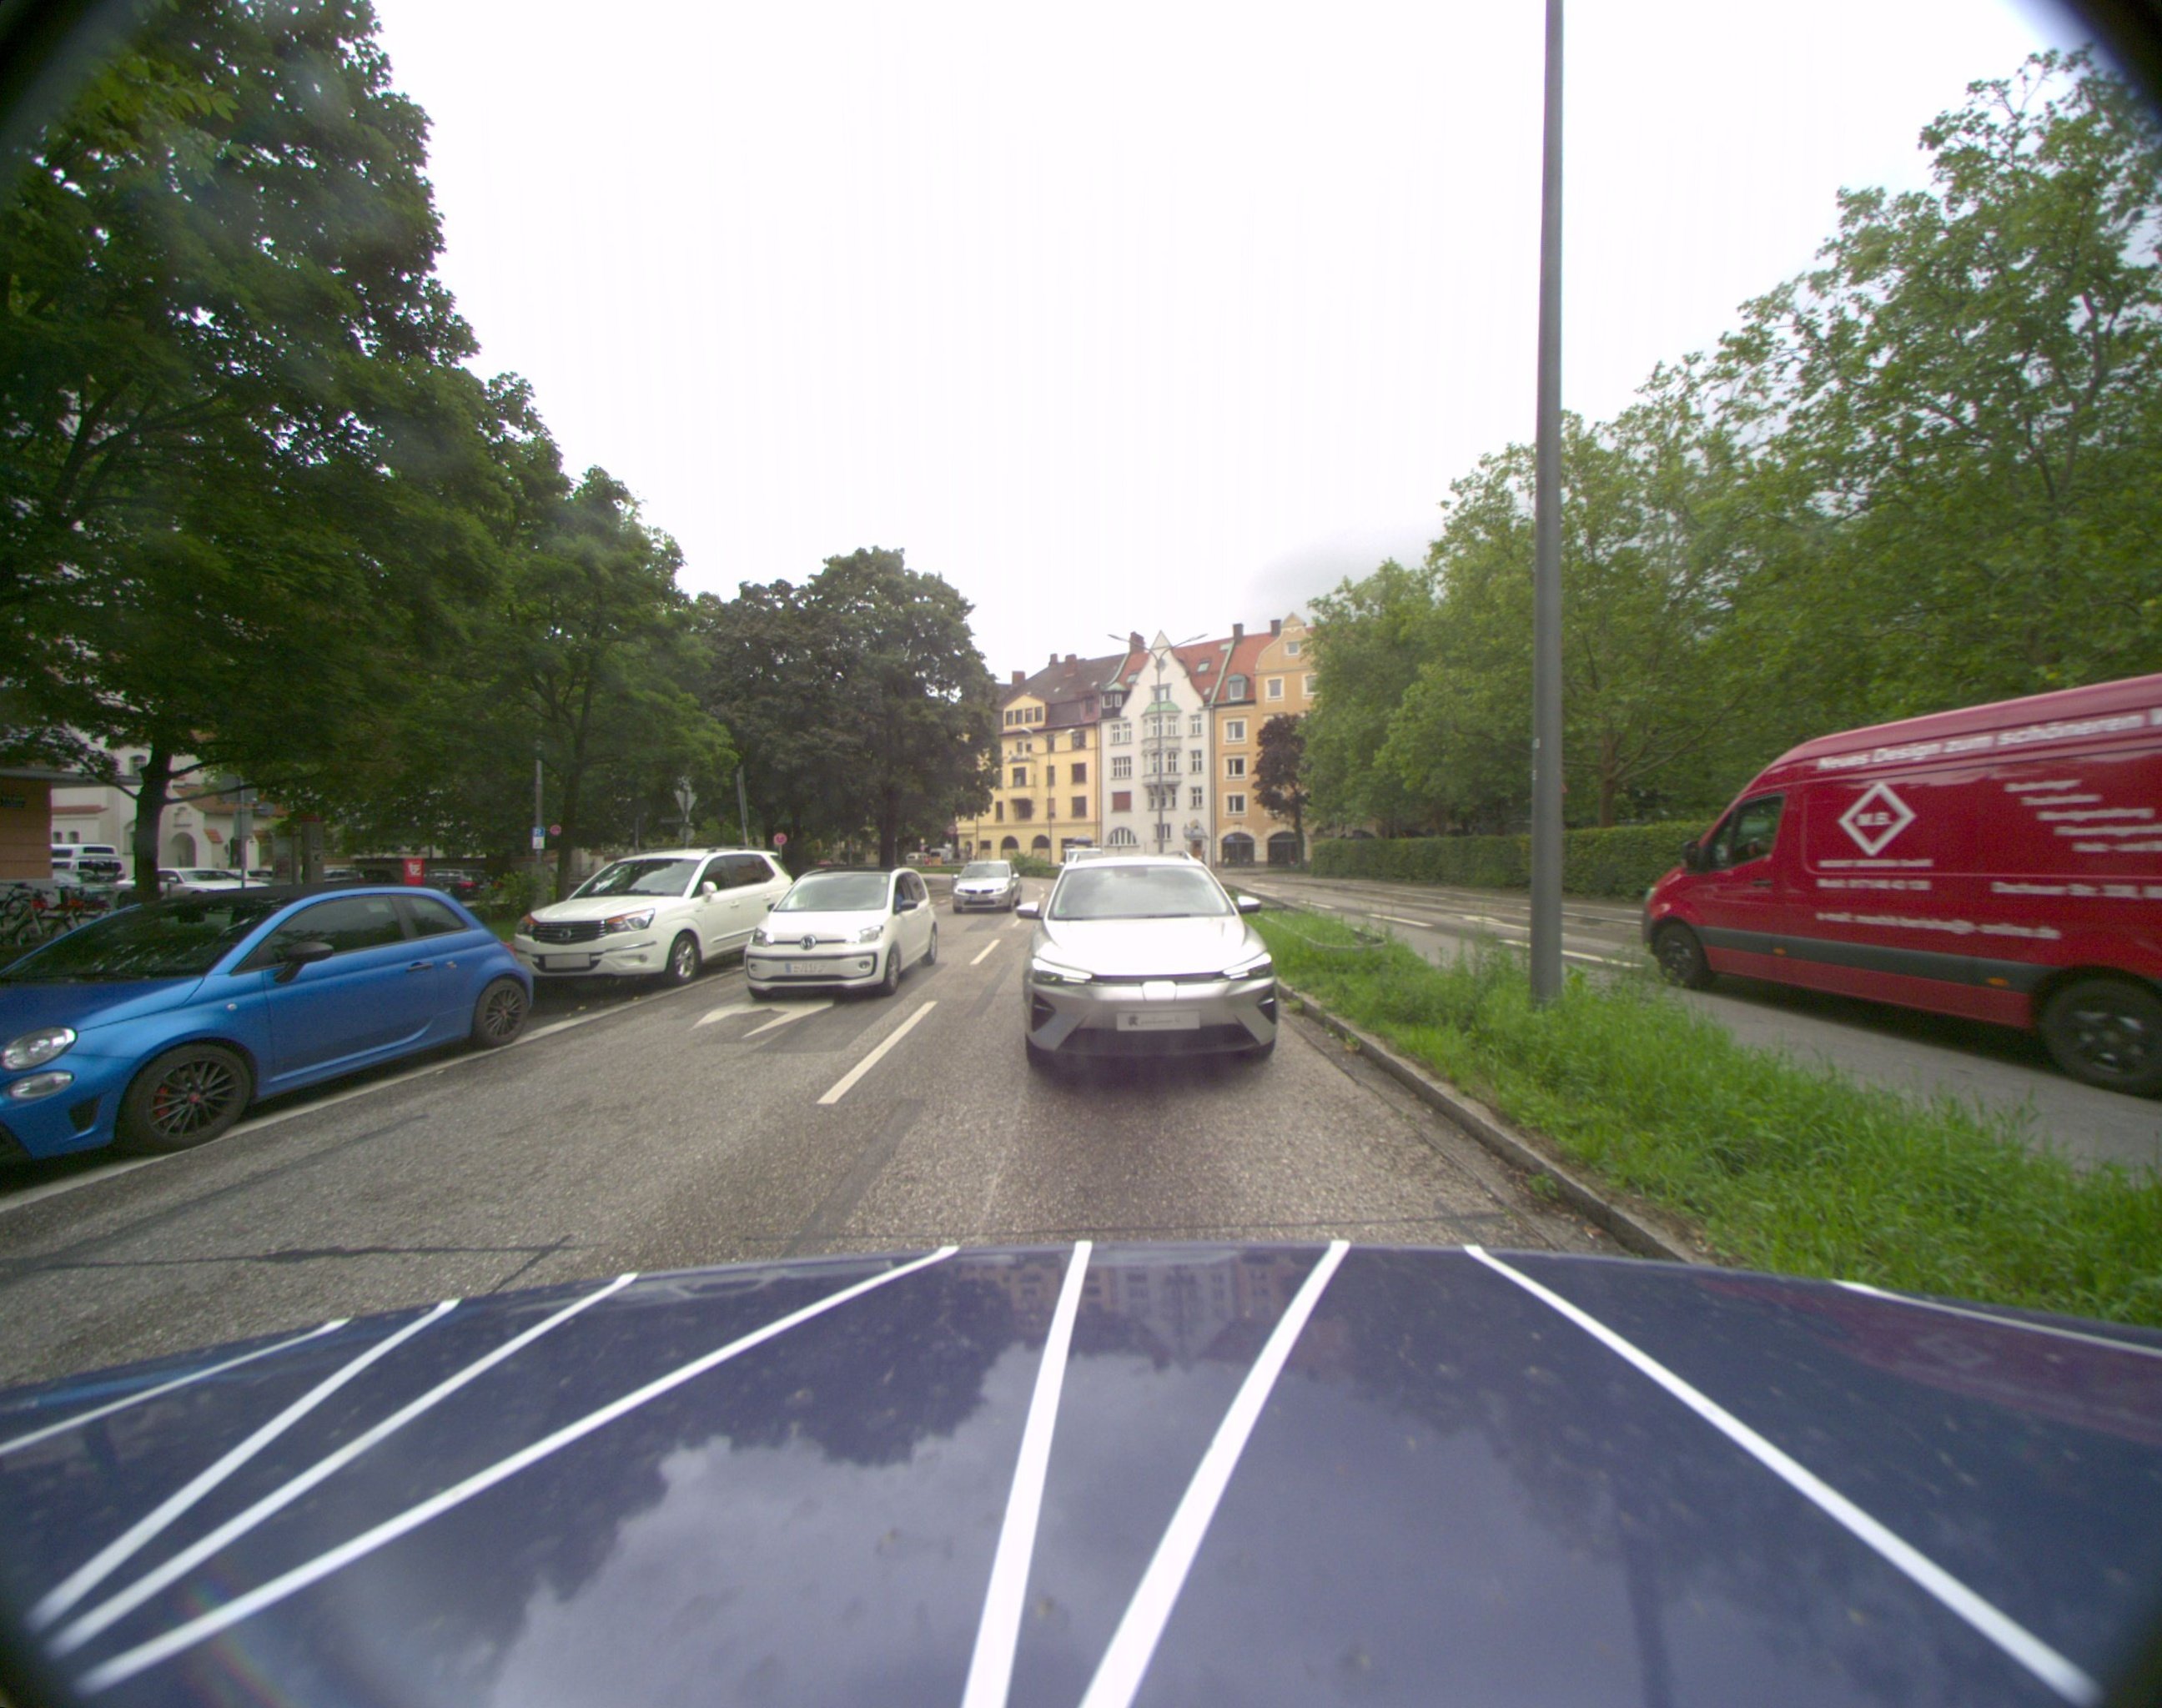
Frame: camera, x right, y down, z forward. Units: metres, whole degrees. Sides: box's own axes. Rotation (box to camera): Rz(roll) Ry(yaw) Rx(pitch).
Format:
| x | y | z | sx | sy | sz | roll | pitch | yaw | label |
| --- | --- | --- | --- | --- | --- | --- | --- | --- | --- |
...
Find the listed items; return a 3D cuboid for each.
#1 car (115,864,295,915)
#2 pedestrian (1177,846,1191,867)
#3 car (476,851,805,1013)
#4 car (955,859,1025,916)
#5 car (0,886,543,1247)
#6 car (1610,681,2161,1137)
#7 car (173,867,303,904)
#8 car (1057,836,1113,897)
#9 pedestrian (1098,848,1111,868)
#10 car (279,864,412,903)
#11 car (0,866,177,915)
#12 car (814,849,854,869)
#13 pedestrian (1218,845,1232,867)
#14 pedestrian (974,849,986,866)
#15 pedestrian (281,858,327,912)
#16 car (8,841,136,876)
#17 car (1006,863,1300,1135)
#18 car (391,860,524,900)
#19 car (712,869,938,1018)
| x | y | z | sx | sy | sz | roll | pitch | yaw | label |
| --- | --- | --- | --- | --- | --- | --- | --- | --- | --- |
| -29.143 | 1.160 | 25.330 | 4.436 | 1.458 | 1.862 | -2 | 1 | 10 | car |
| 10.058 | 0.232 | 74.432 | 1.005 | 2.002 | 0.880 | -1 | 2 | 32 | pedestrian |
| -5.952 | 0.895 | 11.208 | 1.848 | 1.845 | 5.024 | 0 | 0 | 1 | car |
| -2.668 | 0.952 | 23.082 | 1.648 | 1.521 | 3.886 | 0 | 0 | 0 | car |
| -5.818 | 1.080 | 5.263 | 1.523 | 1.540 | 3.662 | 0 | 0 | 1 | car |
| 7.308 | 0.345 | 6.220 | 2.108 | 2.573 | 6.084 | 0 | -1 | 4 | car |
| -38.428 | 1.413 | 34.676 | 4.436 | 1.458 | 1.862 | -2 | 1 | 10 | car |
| 0.252 | 0.465 | 31.698 | 1.912 | 2.337 | 4.947 | 0 | 0 | 5 | car |
| 2.418 | 0.441 | 78.547 | 1.005 | 2.002 | 0.880 | -1 | 2 | 32 | pedestrian |
| -32.194 | 1.283 | 33.304 | 4.436 | 1.458 | 1.862 | -2 | 1 | 10 | car |
| -34.249 | 1.235 | 26.250 | 4.436 | 1.458 | 1.862 | -2 | 1 | 10 | car |
| -27.183 | 0.585 | 83.537 | 3.989 | 2.002 | 2.003 | -2 | 1 | 31 | car |
| 13.620 | 0.218 | 71.718 | 1.005 | 2.002 | 0.880 | -1 | 2 | 32 | pedestrian |
| -11.717 | 0.413 | 88.086 | 1.005 | 2.002 | 0.880 | -1 | 2 | 32 | pedestrian |
| -23.111 | 0.912 | 22.609 | 0.602 | 1.543 | 0.644 | -2 | 1 | 7 | pedestrian |
| -48.522 | 0.201 | 36.579 | 4.436 | 1.458 | 1.862 | -2 | 1 | 10 | car |
| 0.419 | 0.873 | 6.382 | 1.710 | 1.521 | 3.886 | 0 | 0 | 0 | car |
| -26.398 | 1.080 | 32.232 | 4.436 | 1.458 | 1.862 | -2 | 1 | 10 | car |
| -3.003 | 0.970 | 9.717 | 1.648 | 1.457 | 3.619 | 0 | 0 | 0 | car |
